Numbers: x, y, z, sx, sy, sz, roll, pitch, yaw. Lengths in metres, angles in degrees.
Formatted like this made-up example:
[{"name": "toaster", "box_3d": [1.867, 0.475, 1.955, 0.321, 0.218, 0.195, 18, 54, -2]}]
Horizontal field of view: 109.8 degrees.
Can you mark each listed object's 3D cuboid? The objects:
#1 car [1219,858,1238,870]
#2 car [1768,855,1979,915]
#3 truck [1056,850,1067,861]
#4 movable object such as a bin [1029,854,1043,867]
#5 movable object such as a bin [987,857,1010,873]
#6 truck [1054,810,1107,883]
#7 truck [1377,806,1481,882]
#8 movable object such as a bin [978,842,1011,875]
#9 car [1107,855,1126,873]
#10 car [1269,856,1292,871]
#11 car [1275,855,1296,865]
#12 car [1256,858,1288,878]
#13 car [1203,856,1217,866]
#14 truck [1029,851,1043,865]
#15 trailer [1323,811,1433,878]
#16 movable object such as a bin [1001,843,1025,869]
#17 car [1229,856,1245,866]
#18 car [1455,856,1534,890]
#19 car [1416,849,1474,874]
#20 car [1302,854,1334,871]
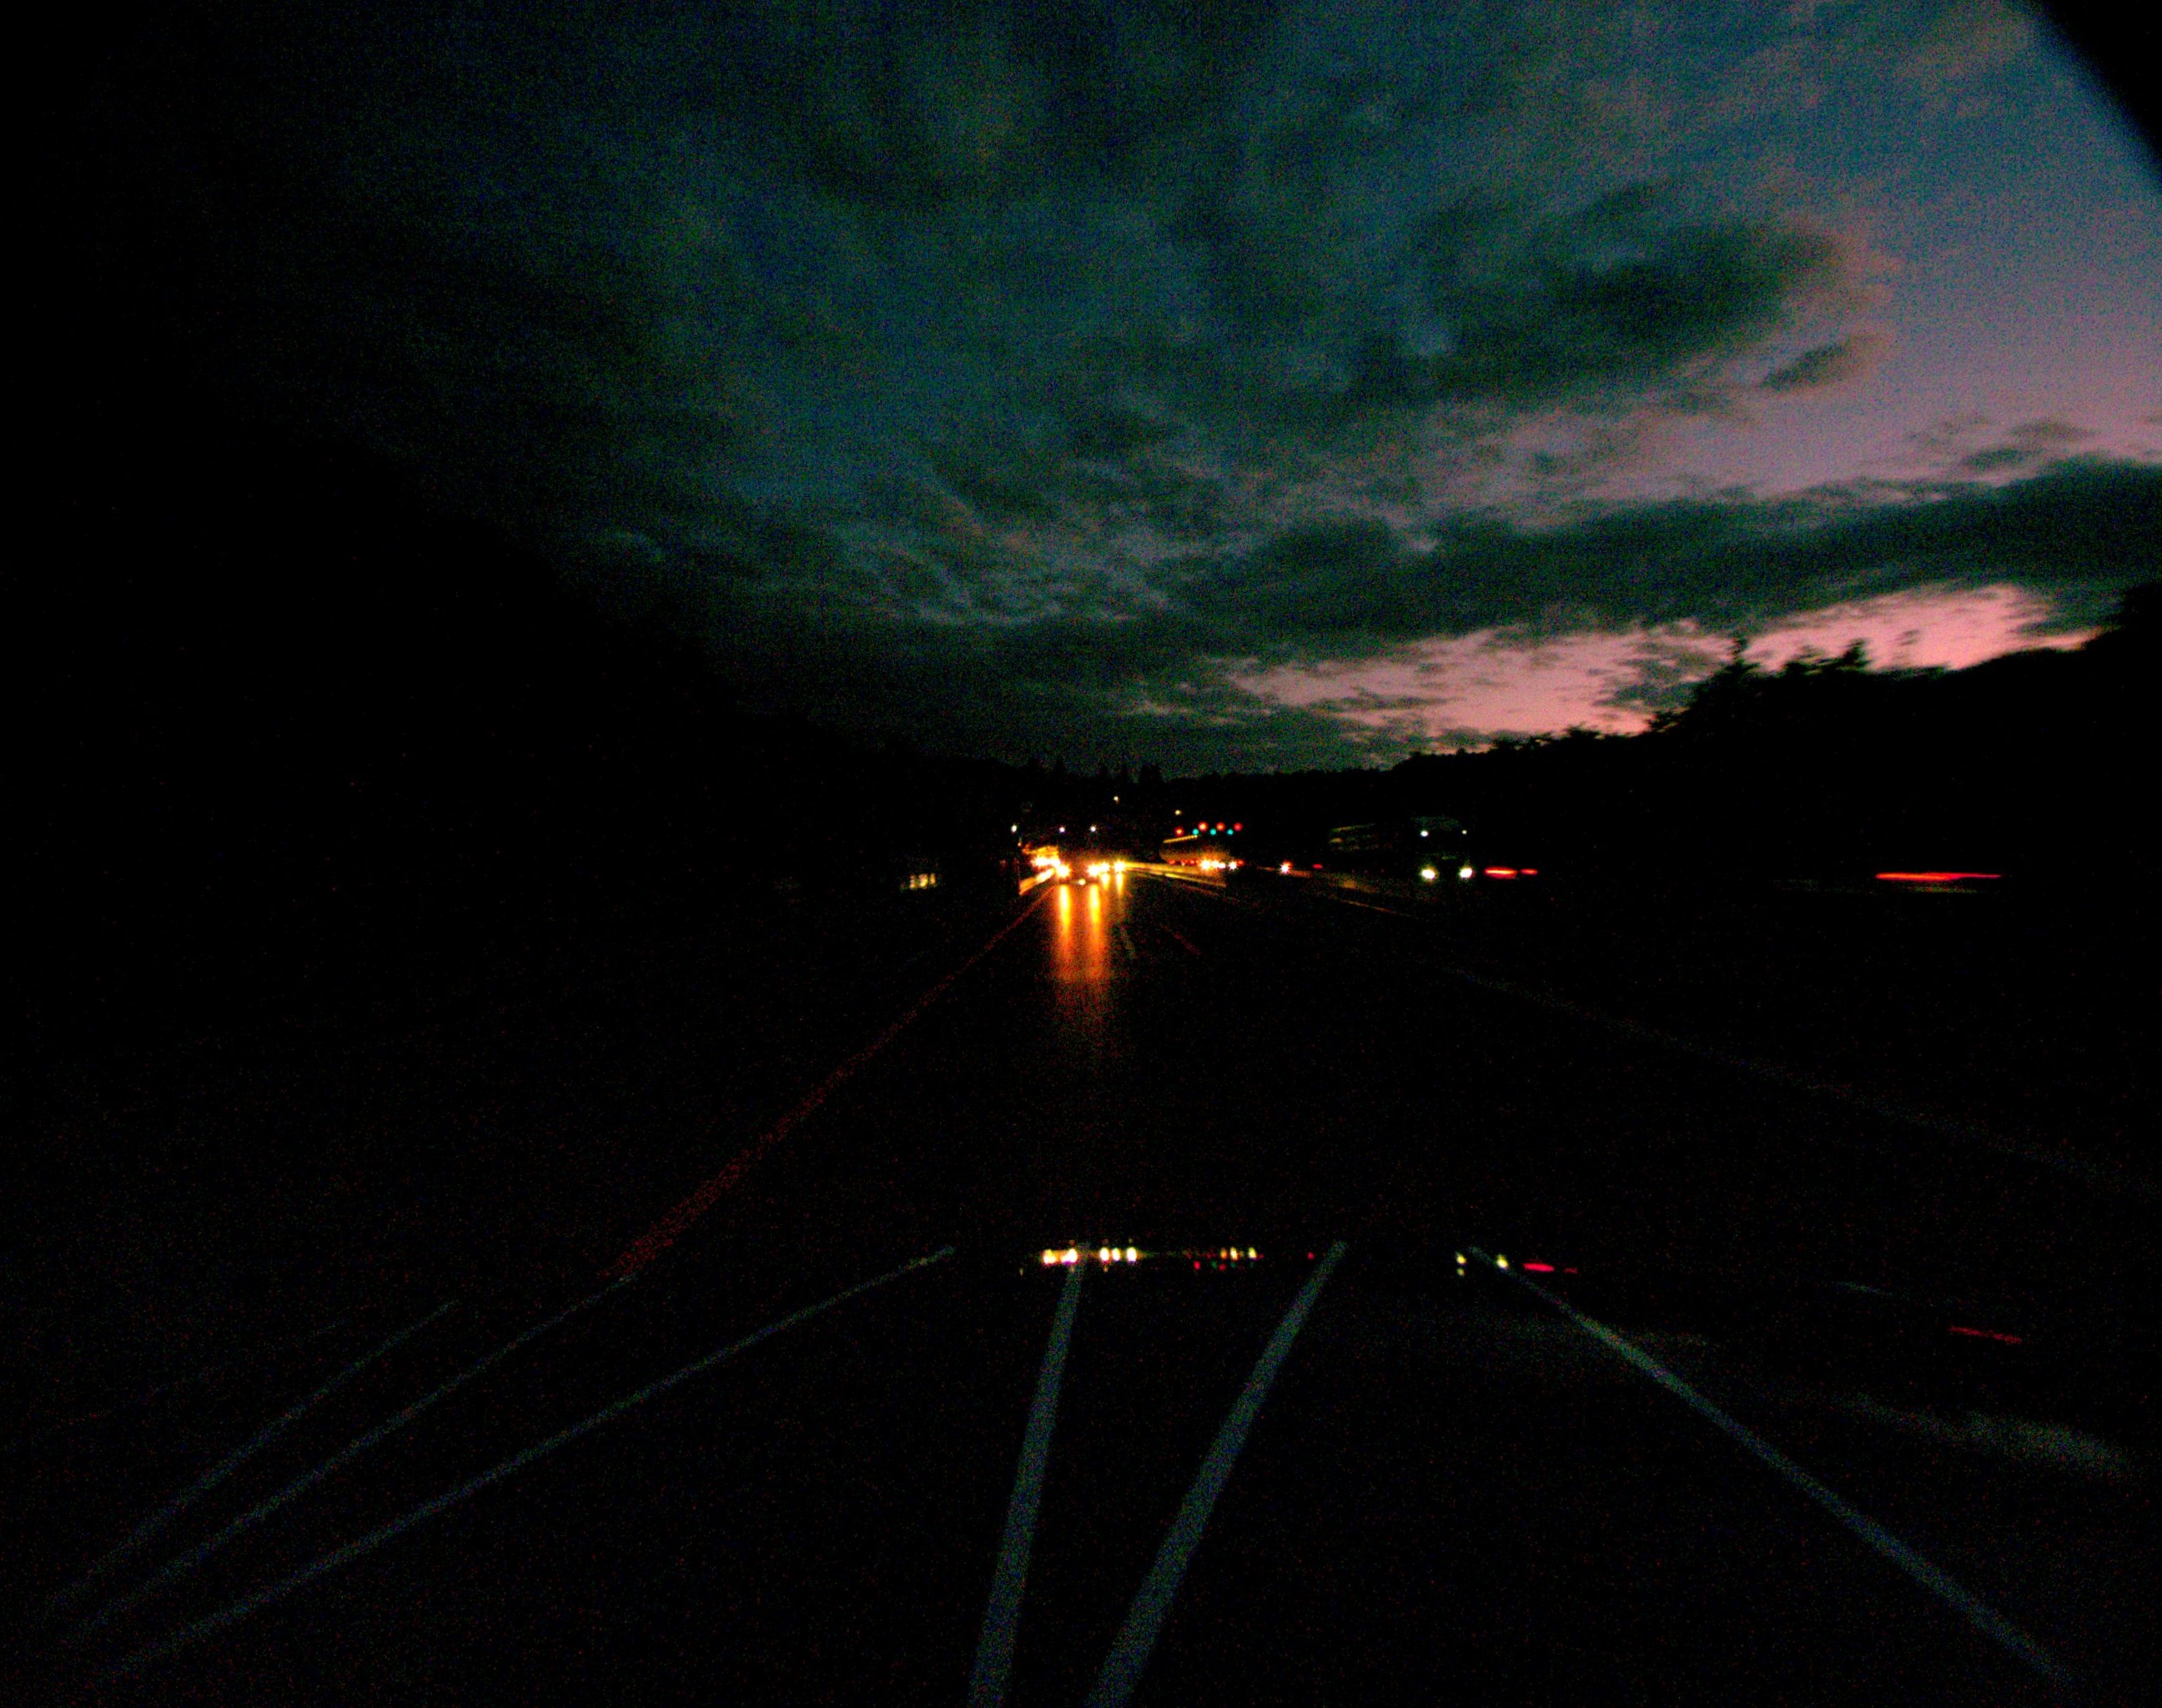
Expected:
[{"name": "car", "box_3d": [20.534, 1.397, 105.836, 1.791, 1.472, 4.000, -3, 0, 1]}, {"name": "car", "box_3d": [24.824, 0.885, 24.124, 1.595, 1.594, 5.034, -3, 0, 3]}, {"name": "truck", "box_3d": [-5.190, 0.352, 204.346, 1.998, 2.817, 6.298, -3, 1, 6]}, {"name": "movable object such as a bin", "box_3d": [-10.151, 1.383, 172.799, 2.978, 2.811, 7.194, -3, 0, -3]}, {"name": "movable object such as a bin", "box_3d": [-8.633, 1.132, 79.681, 1.999, 1.592, 4.084, 0, 1, 0]}, {"name": "truck", "box_3d": [-0.082, -0.471, 50.910, 2.954, 4.241, 11.051, -3, 0, 0]}, {"name": "truck", "box_3d": [19.110, -0.538, 42.155, 2.809, 3.753, 6.302, -3, 1, 1]}, {"name": "movable object such as a bin", "box_3d": [-8.437, 0.419, 74.716, 2.628, 3.090, 5.804, -1, 0, -1]}, {"name": "car", "box_3d": [3.476, 0.947, 73.988, 1.662, 1.586, 3.997, -3, 0, 4]}, {"name": "car", "box_3d": [24.298, 1.138, 92.647, 1.683, 1.628, 4.751, -3, 0, 2]}, {"name": "car", "box_3d": [31.212, 0.877, 116.085, 1.830, 1.476, 4.701, -3, 0, 1]}, {"name": "car", "box_3d": [20.009, 1.485, 79.715, 2.095, 1.873, 4.700, -3, 0, 1]}, {"name": "car", "box_3d": [20.305, 1.026, 119.910, 1.509, 1.472, 3.824, -3, 0, 1]}, {"name": "truck", "box_3d": [-10.854, 0.898, 182.859, 2.825, 3.267, 8.351, -3, 0, -1]}, {"name": "trailer", "box_3d": [19.267, -0.600, 50.343, 2.805, 3.761, 11.835, -3, 0, 1]}, {"name": "movable object such as a bin", "box_3d": [-8.739, 0.215, 98.125, 2.571, 3.299, 5.578, 0, 1, -1]}, {"name": "car", "box_3d": [27.319, 1.184, 133.241, 1.815, 1.476, 4.701, -3, 0, 1]}, {"name": "car", "box_3d": [22.625, 0.983, 41.782, 1.741, 1.628, 4.891, -3, 0, 2]}, {"name": "car", "box_3d": [26.008, 0.508, 54.555, 1.741, 1.628, 5.170, -3, 0, 2]}, {"name": "car", "box_3d": [24.350, 0.870, 78.266, 1.808, 1.628, 4.751, -3, 0, 2]}]
